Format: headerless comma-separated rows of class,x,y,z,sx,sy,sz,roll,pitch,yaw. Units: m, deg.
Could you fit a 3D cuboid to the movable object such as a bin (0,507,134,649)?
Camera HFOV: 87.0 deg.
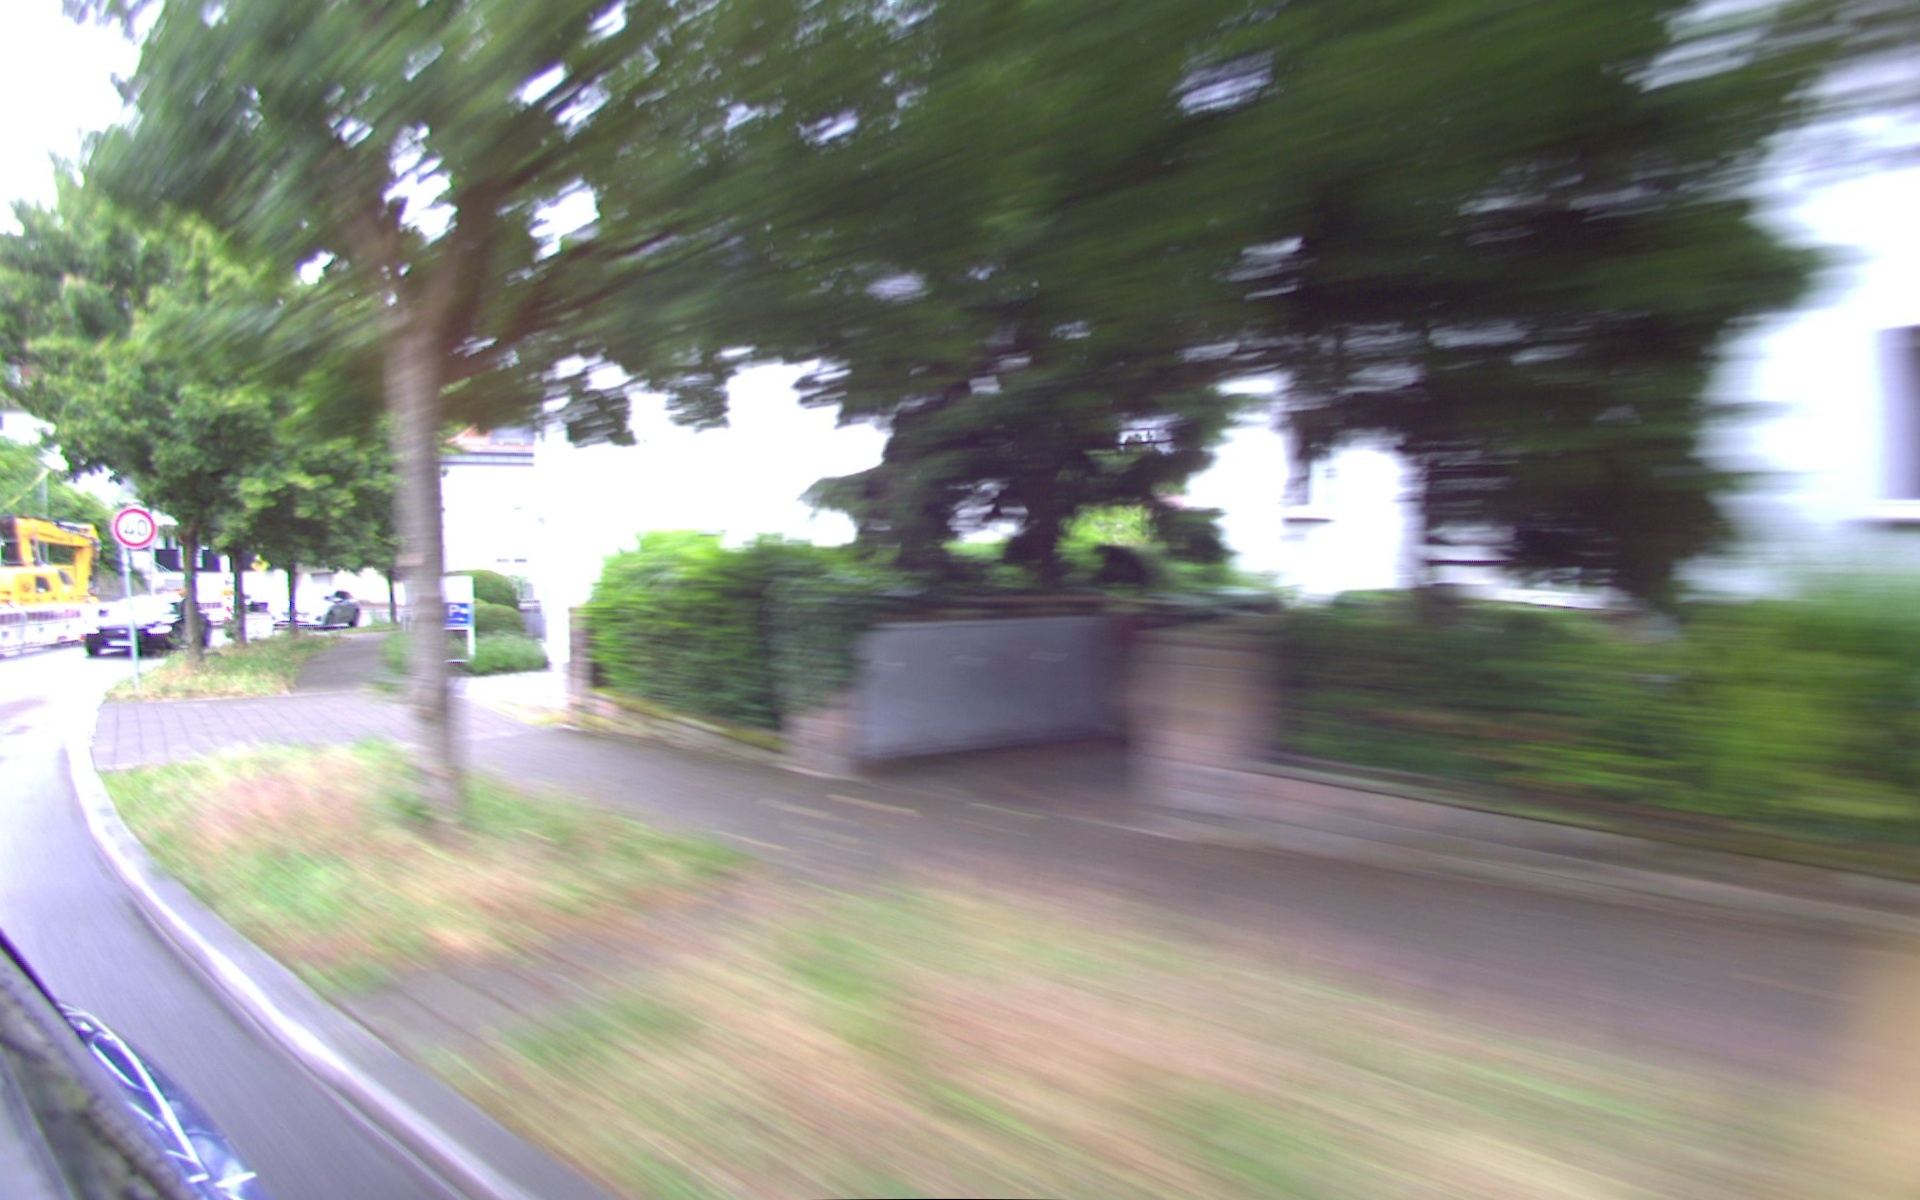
movable object such as a bin,-28.615,-0.653,30.556,3.275,3.868,7.227,-1,1,-18

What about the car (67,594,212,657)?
car,-21.056,0.581,26.177,1.812,1.413,4.085,-1,1,-23

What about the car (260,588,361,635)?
car,-26.193,0.401,41.000,1.968,1.722,4.585,0,1,-12
